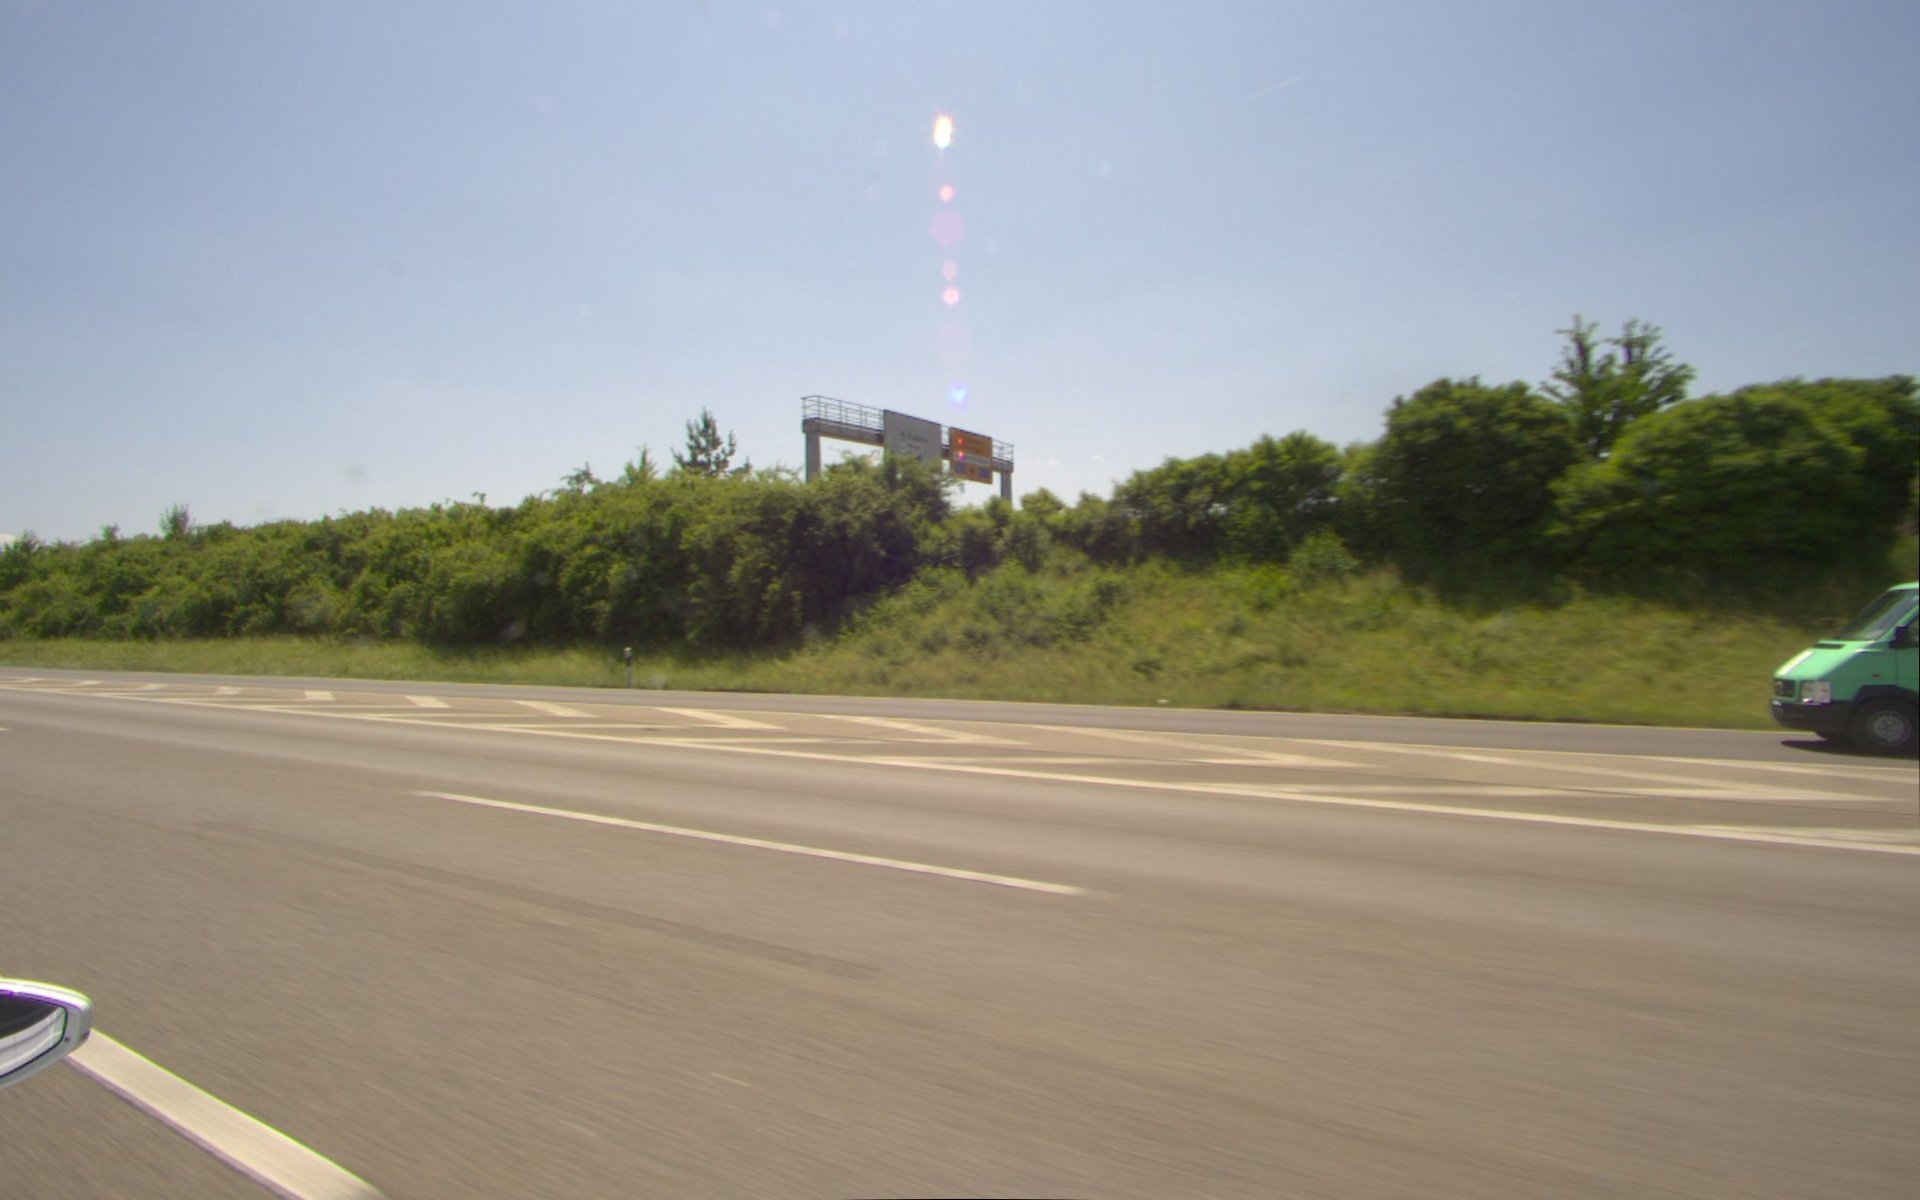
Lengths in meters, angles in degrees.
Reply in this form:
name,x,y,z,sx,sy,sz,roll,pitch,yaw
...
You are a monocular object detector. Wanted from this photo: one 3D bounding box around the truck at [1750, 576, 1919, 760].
name,x,y,z,sx,sy,sz,roll,pitch,yaw
truck,13.217,0.761,11.615,6.023,2.119,2.163,-1,-1,28
